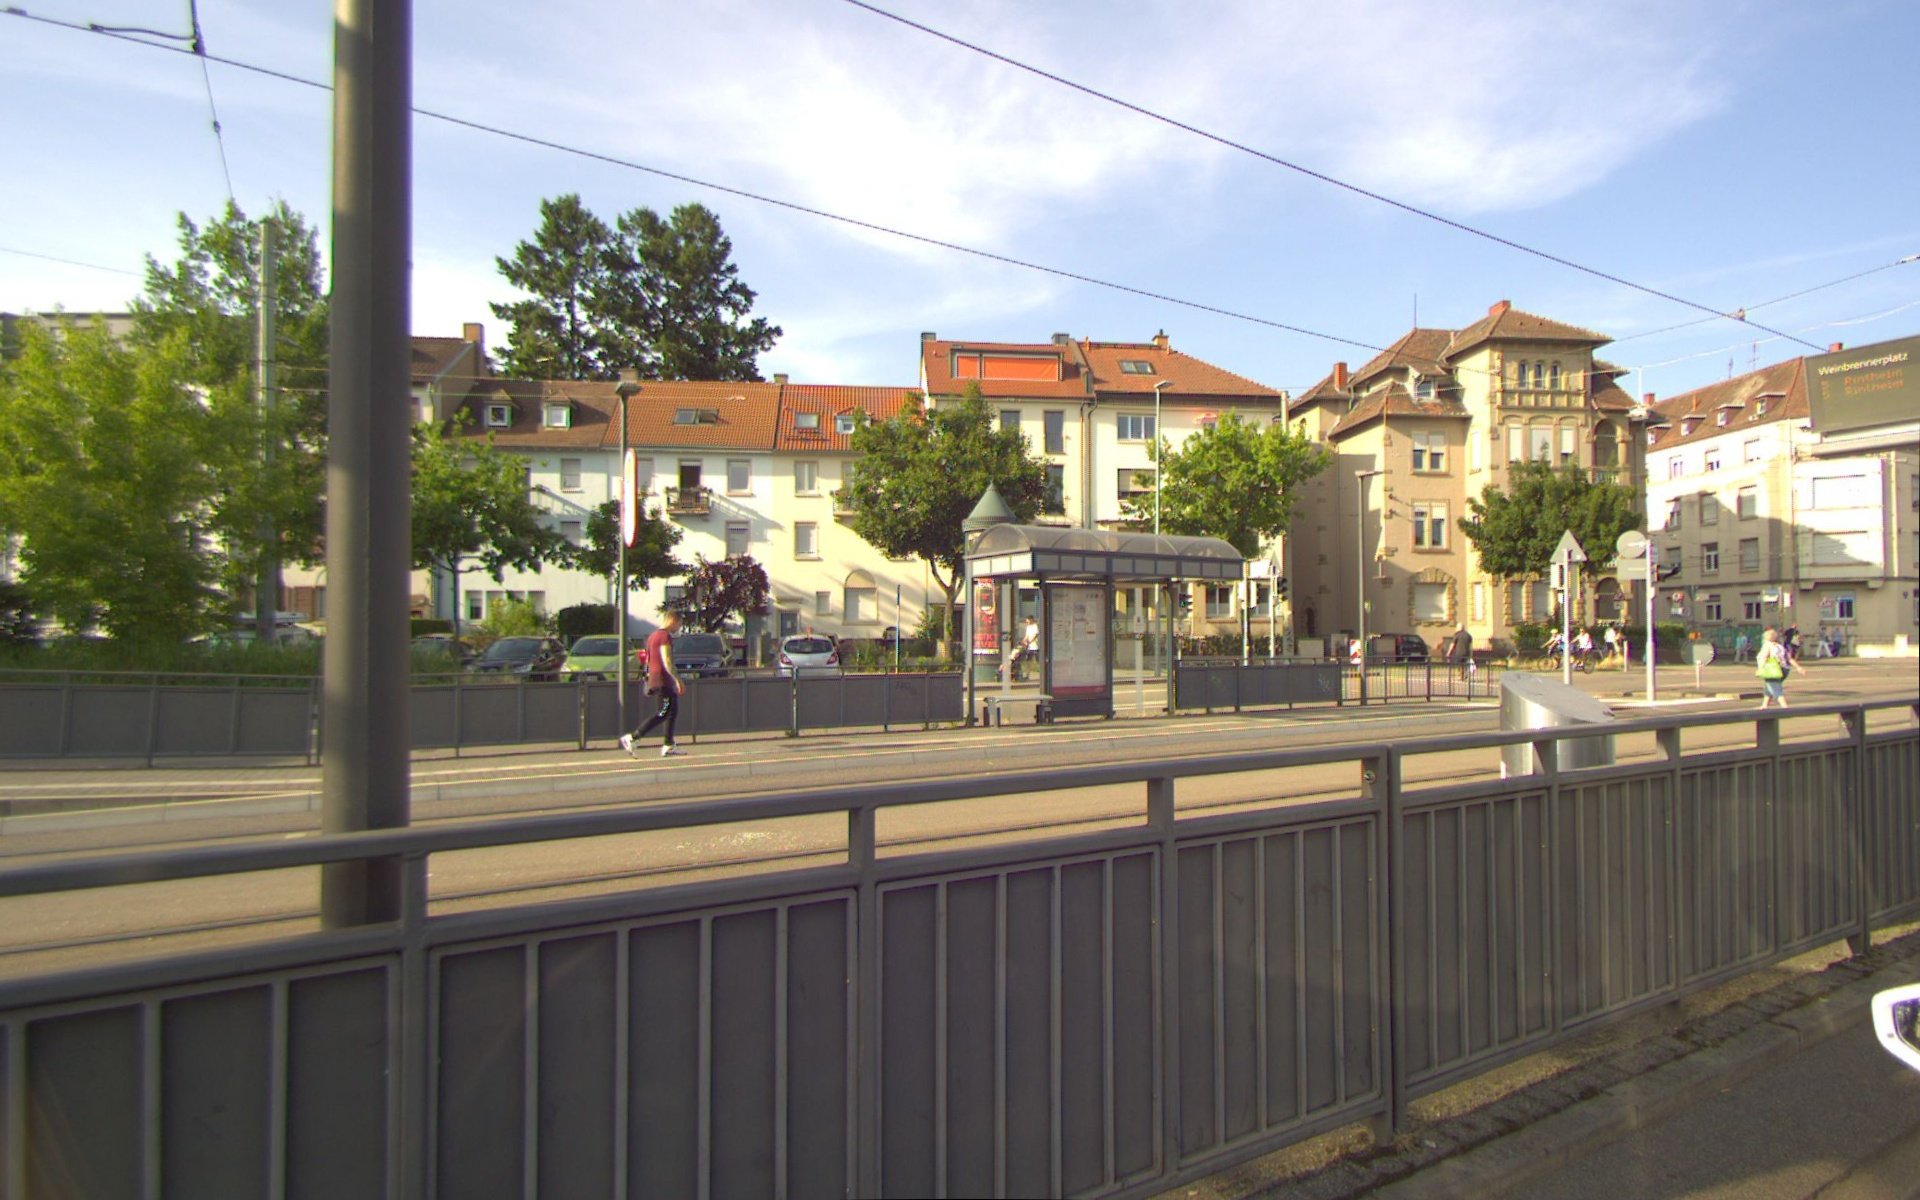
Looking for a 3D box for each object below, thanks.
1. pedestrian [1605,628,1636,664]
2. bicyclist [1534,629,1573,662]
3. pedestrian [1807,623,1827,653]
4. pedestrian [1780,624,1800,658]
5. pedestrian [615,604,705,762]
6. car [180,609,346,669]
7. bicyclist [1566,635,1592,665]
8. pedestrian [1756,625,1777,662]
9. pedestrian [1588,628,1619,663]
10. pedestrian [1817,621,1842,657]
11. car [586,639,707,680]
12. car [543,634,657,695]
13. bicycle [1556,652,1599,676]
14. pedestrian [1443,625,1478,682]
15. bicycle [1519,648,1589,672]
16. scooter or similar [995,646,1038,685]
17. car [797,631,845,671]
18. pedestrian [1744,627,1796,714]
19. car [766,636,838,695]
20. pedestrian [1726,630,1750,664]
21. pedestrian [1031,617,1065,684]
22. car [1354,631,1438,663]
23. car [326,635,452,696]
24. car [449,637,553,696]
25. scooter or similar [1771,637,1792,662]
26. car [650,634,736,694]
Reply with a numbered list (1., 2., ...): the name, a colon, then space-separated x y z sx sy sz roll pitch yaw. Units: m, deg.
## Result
1. pedestrian: 28.975 2.024 44.063 0.768 1.572 0.831 0 -2 -8
2. bicyclist: 23.662 1.809 40.062 1.157 1.278 0.762 1 -2 -22
3. pedestrian: 48.523 2.172 56.846 0.576 1.682 0.620 0 -2 -14
4. pedestrian: 37.155 1.835 44.967 0.540 1.520 0.437 0 -2 -15
5. pedestrian: -3.375 0.923 11.295 0.867 1.706 0.551 1 -5 -30
6. car: -18.666 1.054 27.150 1.813 1.505 3.999 0 -2 -3
7. bicyclist: 22.093 1.766 35.867 0.671 1.058 0.511 1 -2 -27
8. pedestrian: 36.622 1.976 45.625 0.600 1.647 0.507 1 -2 -24
9. pedestrian: 28.869 2.041 45.071 0.768 1.572 0.831 0 -2 -8
10. pedestrian: 49.388 2.207 57.054 0.773 2.040 0.775 0 -2 -15
11. car: -11.228 2.124 36.238 3.927 1.416 1.836 0 -2 -9
12. car: -9.658 1.699 27.274 1.813 1.505 3.999 0 -2 -3
13. bicycle: 22.035 2.275 35.830 1.665 0.845 0.524 1 -2 -28
14. pedestrian: 14.889 1.570 29.904 0.778 1.667 0.757 -1 -2 16
15. bicycle: 23.713 2.383 40.067 2.954 0.926 0.783 1 -2 -22
16. scooter or similar: 1.499 1.720 26.619 1.006 1.001 0.556 0 -2 -15
17. car: -6.060 2.199 44.198 1.962 1.684 3.997 0 -2 -6
18. pedestrian: 15.444 1.321 19.153 0.627 1.620 0.608 1 -2 -36
19. car: -4.350 1.766 27.815 1.815 1.505 3.995 0 -2 -9
20. pedestrian: 36.086 2.153 46.605 0.702 1.561 0.626 1 -2 -30
21. pedestrian: 2.348 1.345 26.858 0.750 1.769 0.547 0 -2 -15
22. car: 20.368 2.173 47.118 1.732 1.327 4.111 2 0 -7
23. car: -14.406 1.602 25.585 1.968 1.416 3.985 0 -2 -18
24. car: -11.885 1.677 26.245 1.968 1.416 3.985 0 -2 -18
25. scooter or similar: 37.342 2.265 45.669 0.675 1.093 0.541 2 0 -30
26. car: -7.168 1.684 27.277 1.815 1.505 3.995 0 -2 -9
